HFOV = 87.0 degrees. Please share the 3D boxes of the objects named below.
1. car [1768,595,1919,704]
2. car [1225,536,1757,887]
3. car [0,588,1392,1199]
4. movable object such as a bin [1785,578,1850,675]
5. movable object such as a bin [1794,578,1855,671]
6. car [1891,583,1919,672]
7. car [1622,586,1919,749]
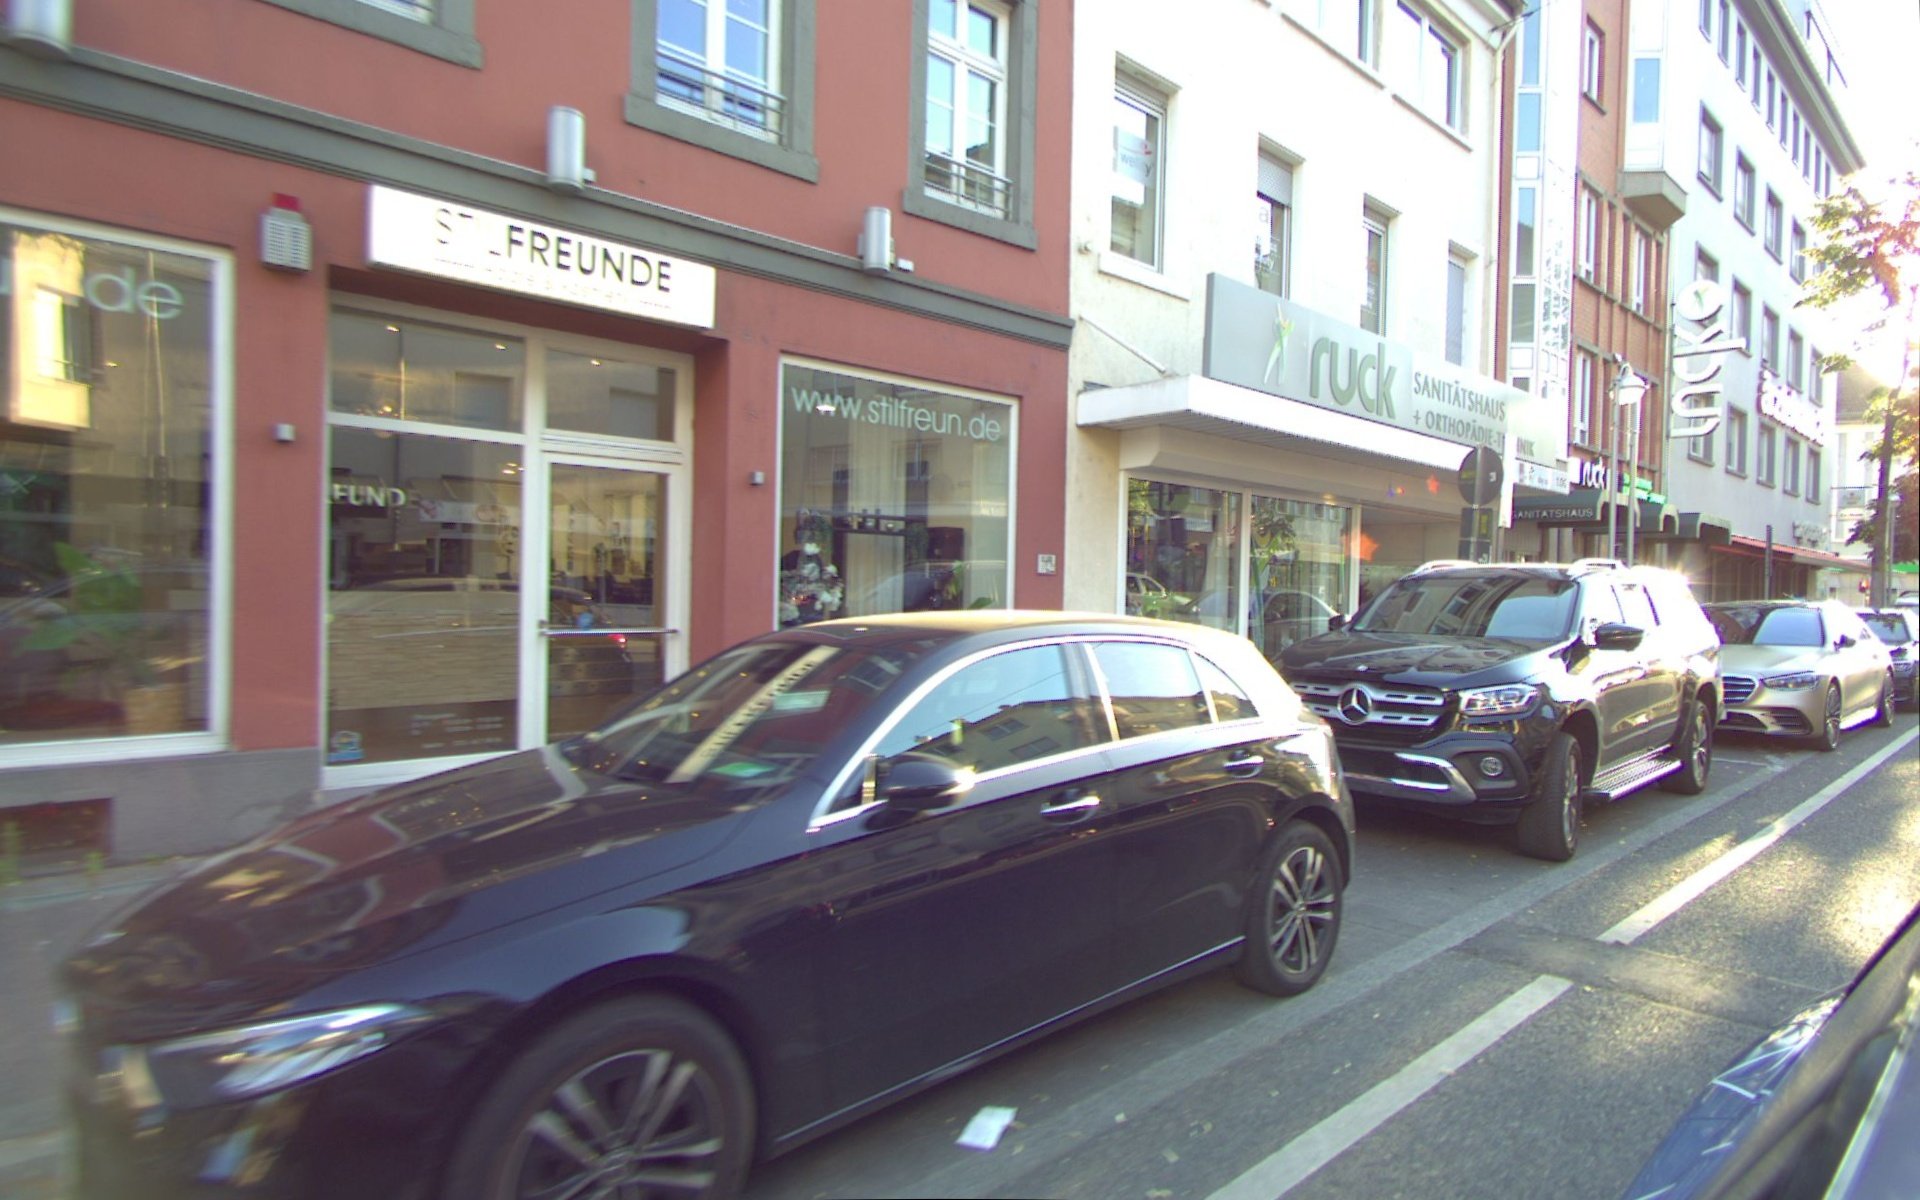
[{"bbox_3d":[13.936,0.670,15.473,4.431,1.438,1.755,1,0,-42],"label":"car"},{"bbox_3d":[4.183,0.533,7.497,4.972,1.776,1.886,-1,1,-42],"label":"car"},{"bbox_3d":[-0.413,0.718,3.429,4.231,1.502,1.765,-1,1,-40],"label":"car"},{"bbox_3d":[16.479,0.478,19.443,1.331,1.796,0.835,0,0,-44],"label":"movable object such as a bin"},{"bbox_3d":[17.385,0.464,20.349,1.186,1.796,0.835,0,0,-44],"label":"movable object such as a bin"},{"bbox_3d":[21.082,0.575,21.532,3.945,1.801,1.656,1,0,-44],"label":"car"},{"bbox_3d":[9.673,0.610,11.850,4.904,1.546,1.816,-1,1,-39],"label":"car"}]
